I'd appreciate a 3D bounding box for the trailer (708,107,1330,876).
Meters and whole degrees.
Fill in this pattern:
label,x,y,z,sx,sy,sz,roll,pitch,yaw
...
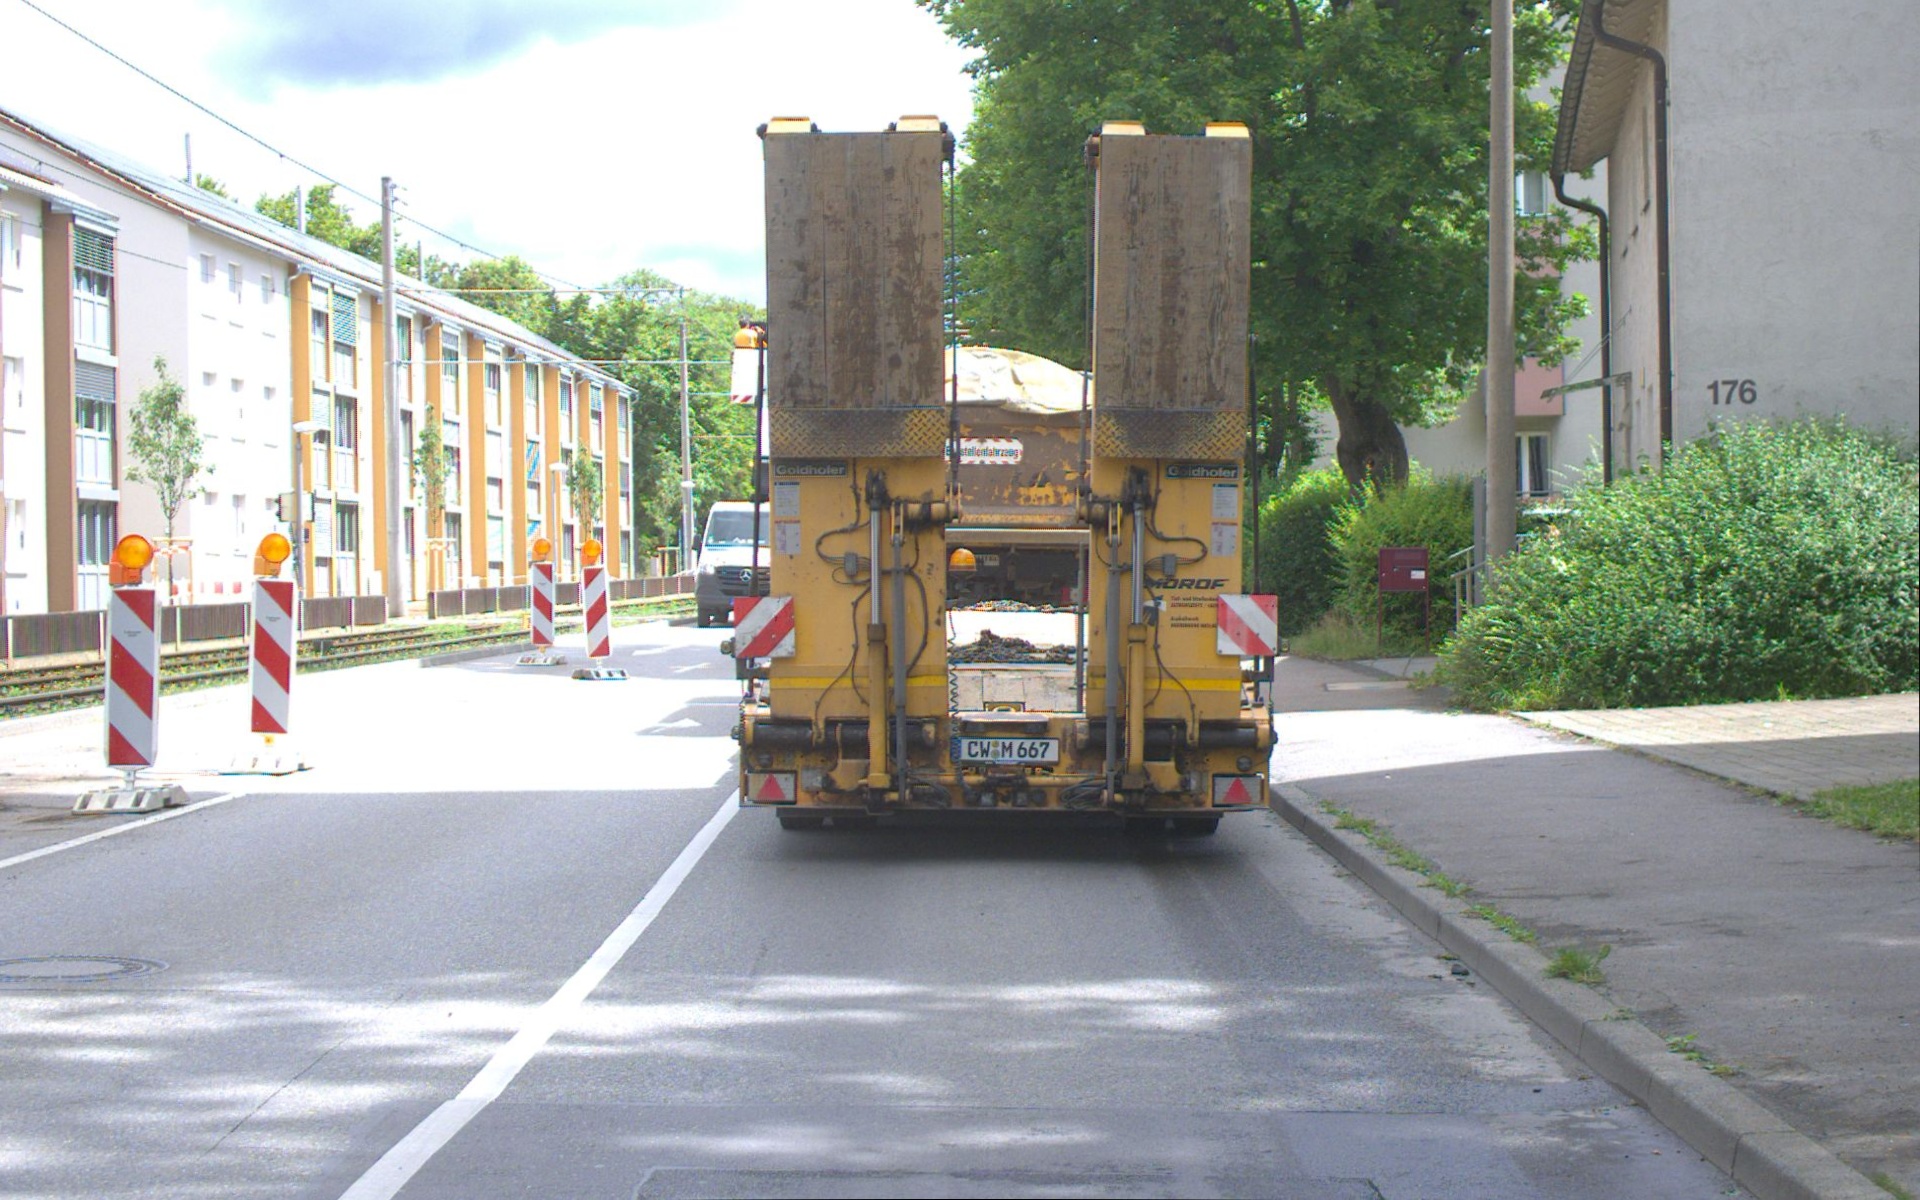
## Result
label,x,y,z,sx,sy,sz,roll,pitch,yaw
trailer,0.168,-0.583,21.466,2.822,3.512,11.053,1,1,-1

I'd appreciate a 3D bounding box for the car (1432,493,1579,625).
label,x,y,z,sx,sy,sz,roll,pitch,yaw
car,7.288,-0.546,45.942,1.812,1.644,3.999,-1,0,9

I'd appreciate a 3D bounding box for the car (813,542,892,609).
label,x,y,z,sx,sy,sz,roll,pitch,yaw
car,-2.570,-0.606,82.796,1.718,1.547,3.917,1,1,1

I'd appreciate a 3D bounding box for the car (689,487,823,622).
label,x,y,z,sx,sy,sz,roll,pitch,yaw
car,-3.813,-0.870,65.299,1.993,2.422,6.322,1,1,2

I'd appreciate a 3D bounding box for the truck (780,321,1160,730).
label,x,y,z,sx,sy,sz,roll,pitch,yaw
truck,-0.014,-0.646,30.831,2.917,3.156,7.681,1,1,-1
